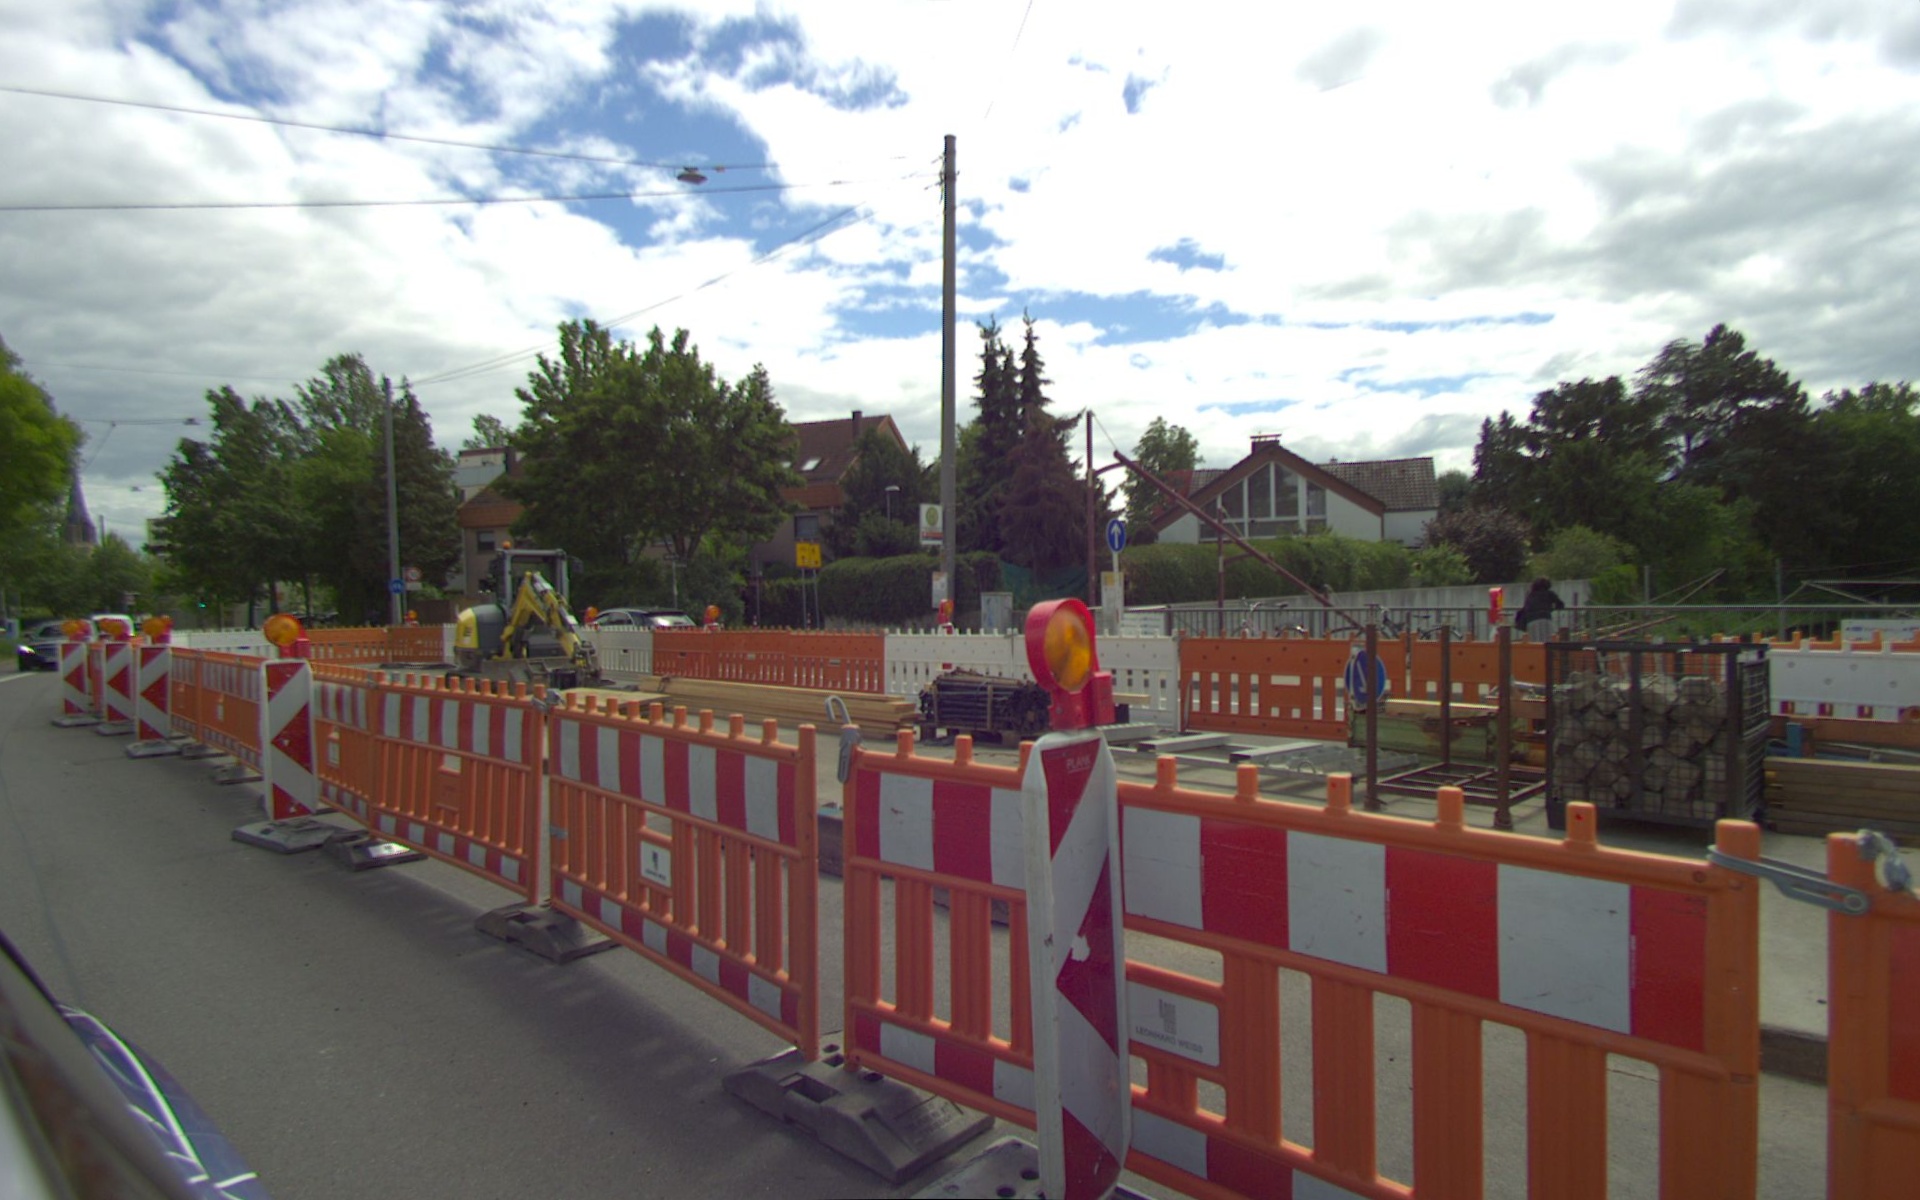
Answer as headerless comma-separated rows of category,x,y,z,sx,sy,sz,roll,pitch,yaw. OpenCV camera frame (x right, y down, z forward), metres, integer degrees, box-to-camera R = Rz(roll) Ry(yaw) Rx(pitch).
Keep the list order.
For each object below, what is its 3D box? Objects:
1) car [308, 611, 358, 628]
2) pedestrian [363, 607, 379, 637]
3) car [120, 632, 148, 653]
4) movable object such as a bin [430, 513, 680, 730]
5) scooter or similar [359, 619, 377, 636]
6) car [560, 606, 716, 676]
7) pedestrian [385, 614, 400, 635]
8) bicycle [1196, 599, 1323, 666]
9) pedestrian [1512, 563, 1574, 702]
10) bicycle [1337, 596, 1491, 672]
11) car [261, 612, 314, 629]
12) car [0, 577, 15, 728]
car,-65.468,1.990,105.681,1.988,1.519,3.969,-2,1,23
pedestrian,-30.481,1.141,52.392,0.548,1.492,0.642,-3,1,-40
car,-65.703,3.392,80.522,1.672,1.524,4.007,-1,0,-40
movable object such as a bin,-6.462,0.281,15.525,1.967,2.645,6.537,-1,0,-36
scooter or similar,-31.021,1.446,53.036,0.628,0.871,1.032,-3,1,-40
car,-7.928,0.948,24.670,1.833,1.524,4.444,-1,0,-44
pedestrian,-29.782,1.296,53.137,0.548,1.094,0.642,-3,1,-40
bicycle,5.173,0.547,17.611,0.532,1.091,2.133,-1,0,-43
pedestrian,8.198,0.440,14.221,0.585,1.900,0.671,-1,0,44
bicycle,7.000,0.509,15.706,0.532,1.091,2.133,-1,0,-43
car,-67.130,2.030,101.091,1.986,1.519,3.972,-2,1,21
car,-13.032,0.747,12.143,1.968,2.028,5.524,-3,2,-39
